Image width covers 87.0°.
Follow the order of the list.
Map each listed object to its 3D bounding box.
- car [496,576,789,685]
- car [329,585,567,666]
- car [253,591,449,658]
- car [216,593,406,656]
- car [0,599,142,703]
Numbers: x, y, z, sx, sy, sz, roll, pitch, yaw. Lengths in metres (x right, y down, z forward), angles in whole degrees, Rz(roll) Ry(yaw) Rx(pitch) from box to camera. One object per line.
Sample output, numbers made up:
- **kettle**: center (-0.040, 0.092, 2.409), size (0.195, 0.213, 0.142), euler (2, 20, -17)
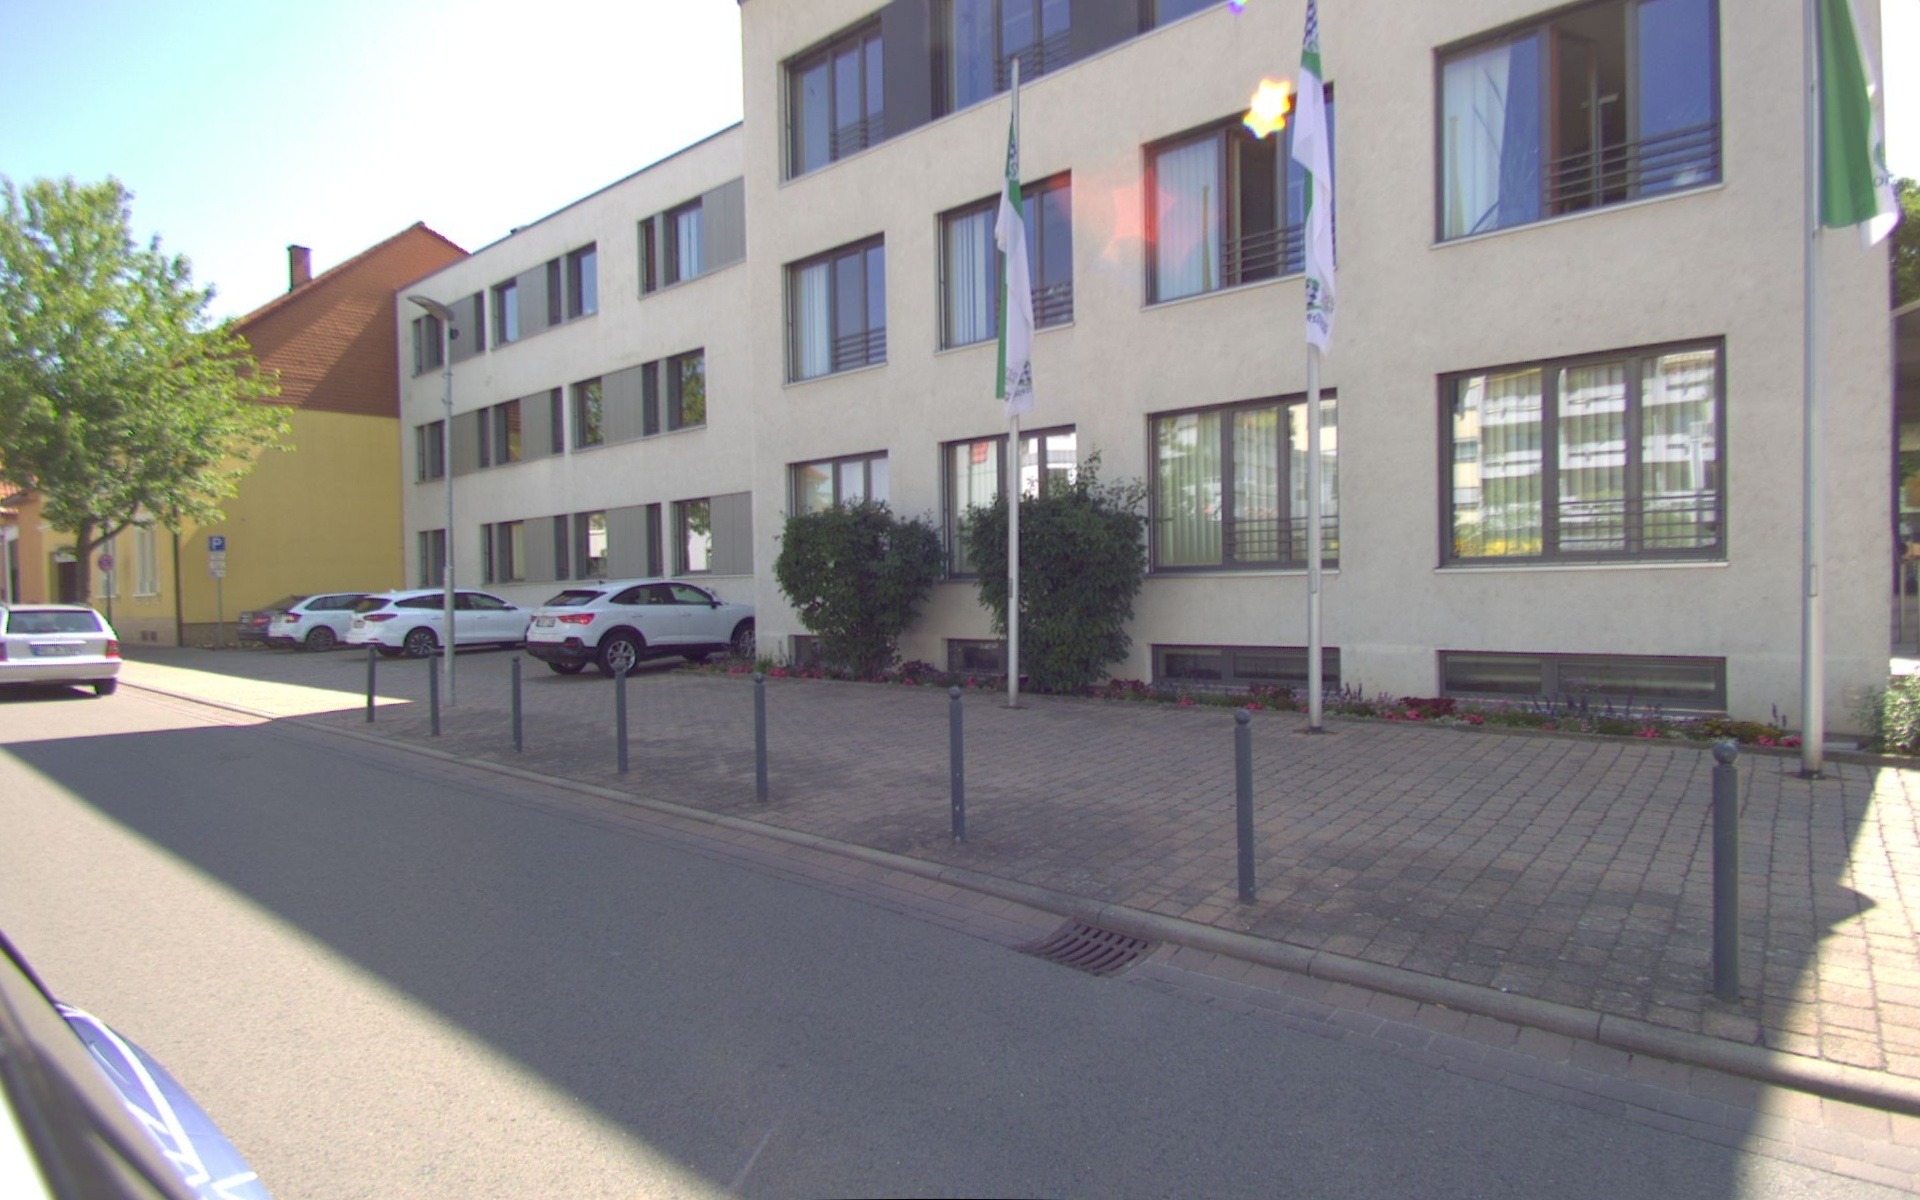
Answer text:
- **car**: center (-5.424, 0.426, 17.786), size (2.145, 1.565, 4.463), euler (-1, 2, 38)
- **car**: center (-11.645, 0.493, 23.274), size (1.933, 1.565, 4.459), euler (1, 3, 40)
- **car**: center (-15.717, 0.592, 26.268), size (1.806, 1.462, 3.947), euler (-1, 1, 40)
- **car**: center (-17.809, 0.636, 27.923), size (1.968, 1.442, 3.952), euler (-2, 1, 36)
- **car**: center (-14.914, 0.731, 16.329), size (4.432, 1.475, 1.861), euler (0, -1, 40)
